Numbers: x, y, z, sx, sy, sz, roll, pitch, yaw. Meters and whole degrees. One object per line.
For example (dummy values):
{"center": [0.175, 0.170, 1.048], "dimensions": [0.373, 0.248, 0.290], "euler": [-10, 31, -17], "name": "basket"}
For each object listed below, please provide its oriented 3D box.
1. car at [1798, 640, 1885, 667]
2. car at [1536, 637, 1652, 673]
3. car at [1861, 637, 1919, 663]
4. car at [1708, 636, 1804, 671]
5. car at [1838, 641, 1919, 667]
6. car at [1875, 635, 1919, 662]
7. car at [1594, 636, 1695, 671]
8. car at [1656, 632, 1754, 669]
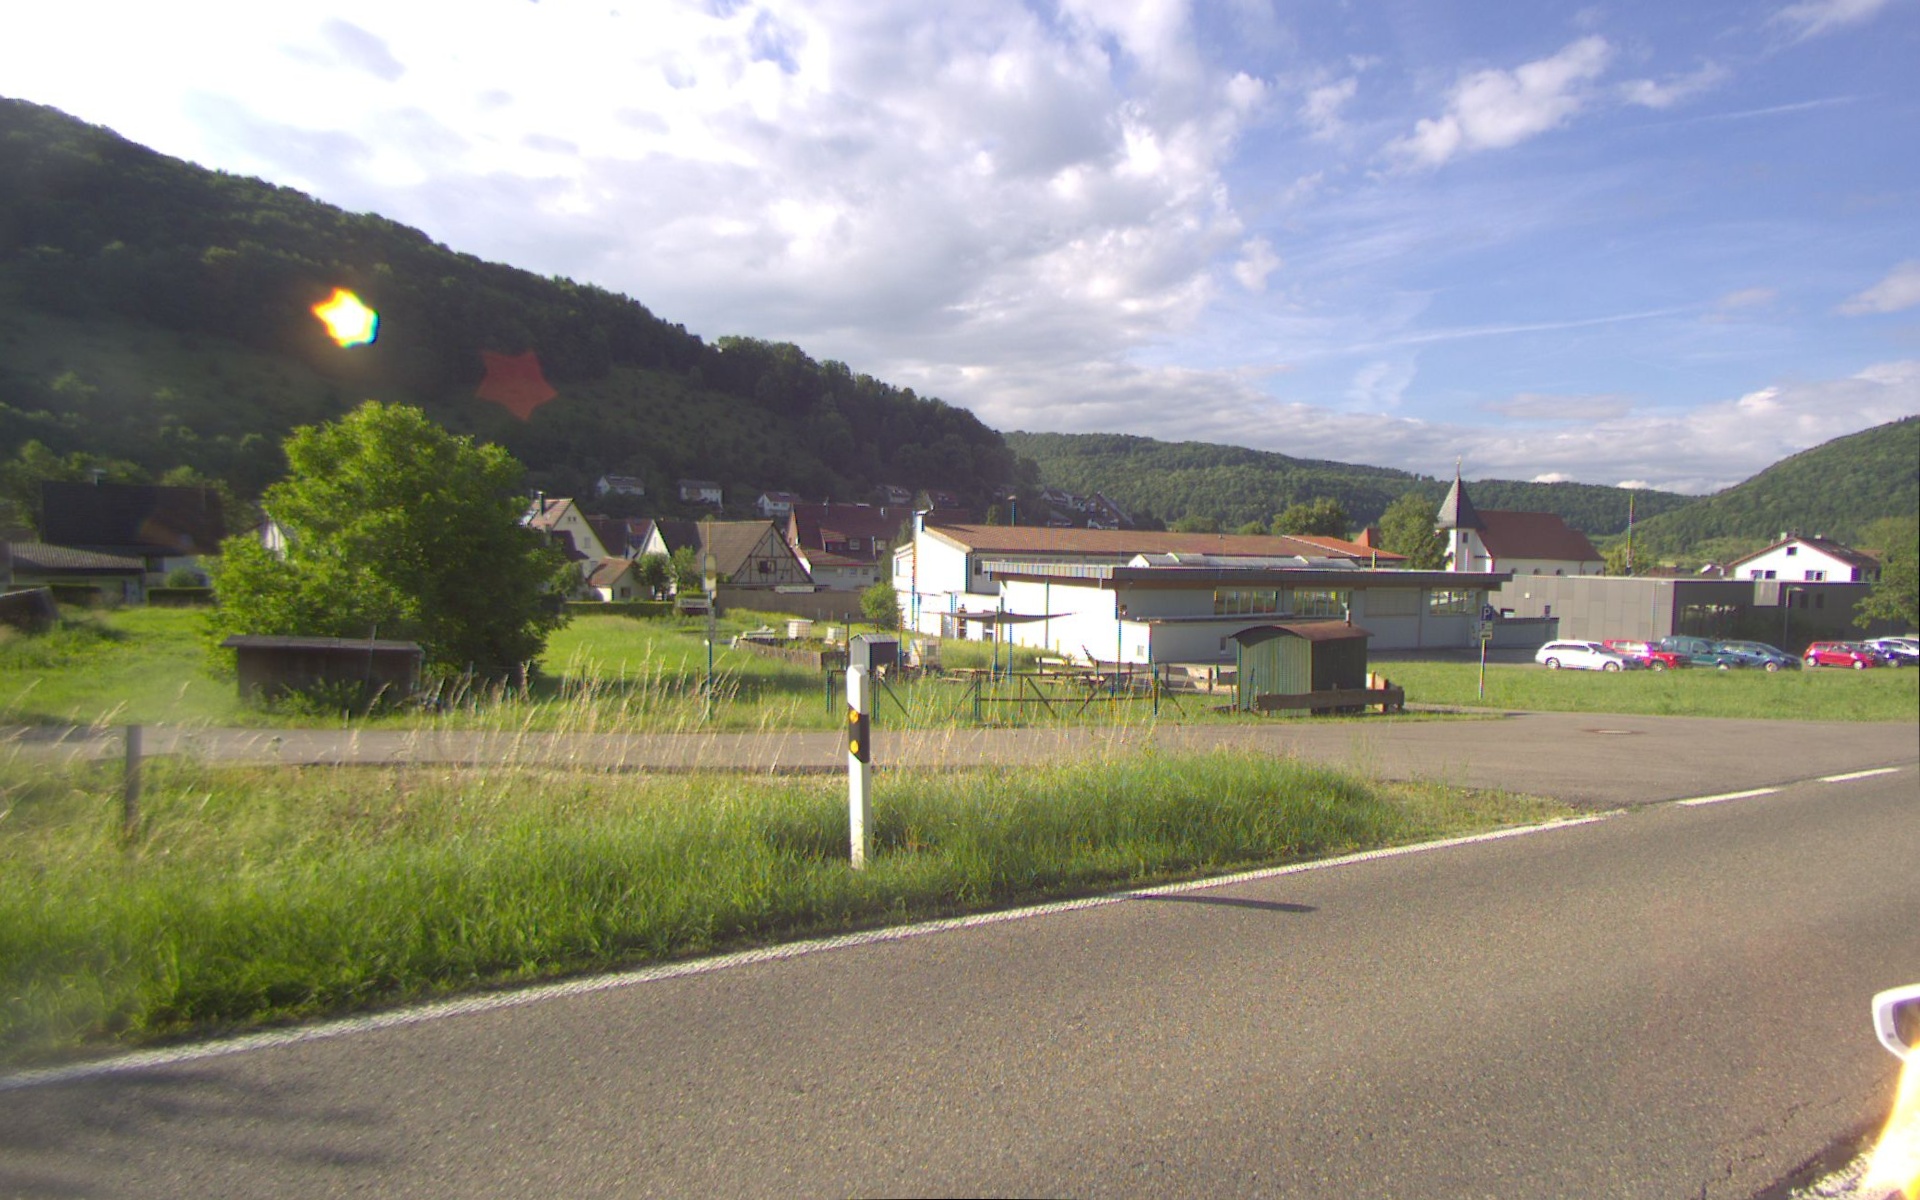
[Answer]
{"center": [52.616, 3.173, 60.014], "dimensions": [1.626, 1.463, 3.614], "euler": [1, -1, -25], "name": "car"}
{"center": [31.669, 2.717, 50.327], "dimensions": [1.974, 1.610, 4.625], "euler": [1, -1, -26], "name": "car"}
{"center": [59.887, 3.194, 63.779], "dimensions": [1.575, 1.513, 3.655], "euler": [3, -2, -25], "name": "car"}
{"center": [43.784, 2.922, 55.300], "dimensions": [1.709, 1.744, 3.805], "euler": [1, -1, -26], "name": "car"}
{"center": [57.050, 3.321, 62.303], "dimensions": [1.575, 1.423, 3.614], "euler": [4, -2, -25], "name": "car"}
{"center": [62.555, 3.183, 65.436], "dimensions": [1.575, 1.695, 4.065], "euler": [0, 0, -25], "name": "car"}
{"center": [34.609, 2.687, 50.898], "dimensions": [1.733, 1.600, 3.906], "euler": [1, -1, -26], "name": "car"}
{"center": [39.571, 2.679, 53.433], "dimensions": [1.734, 1.745, 3.846], "euler": [1, 0, -28], "name": "car"}
